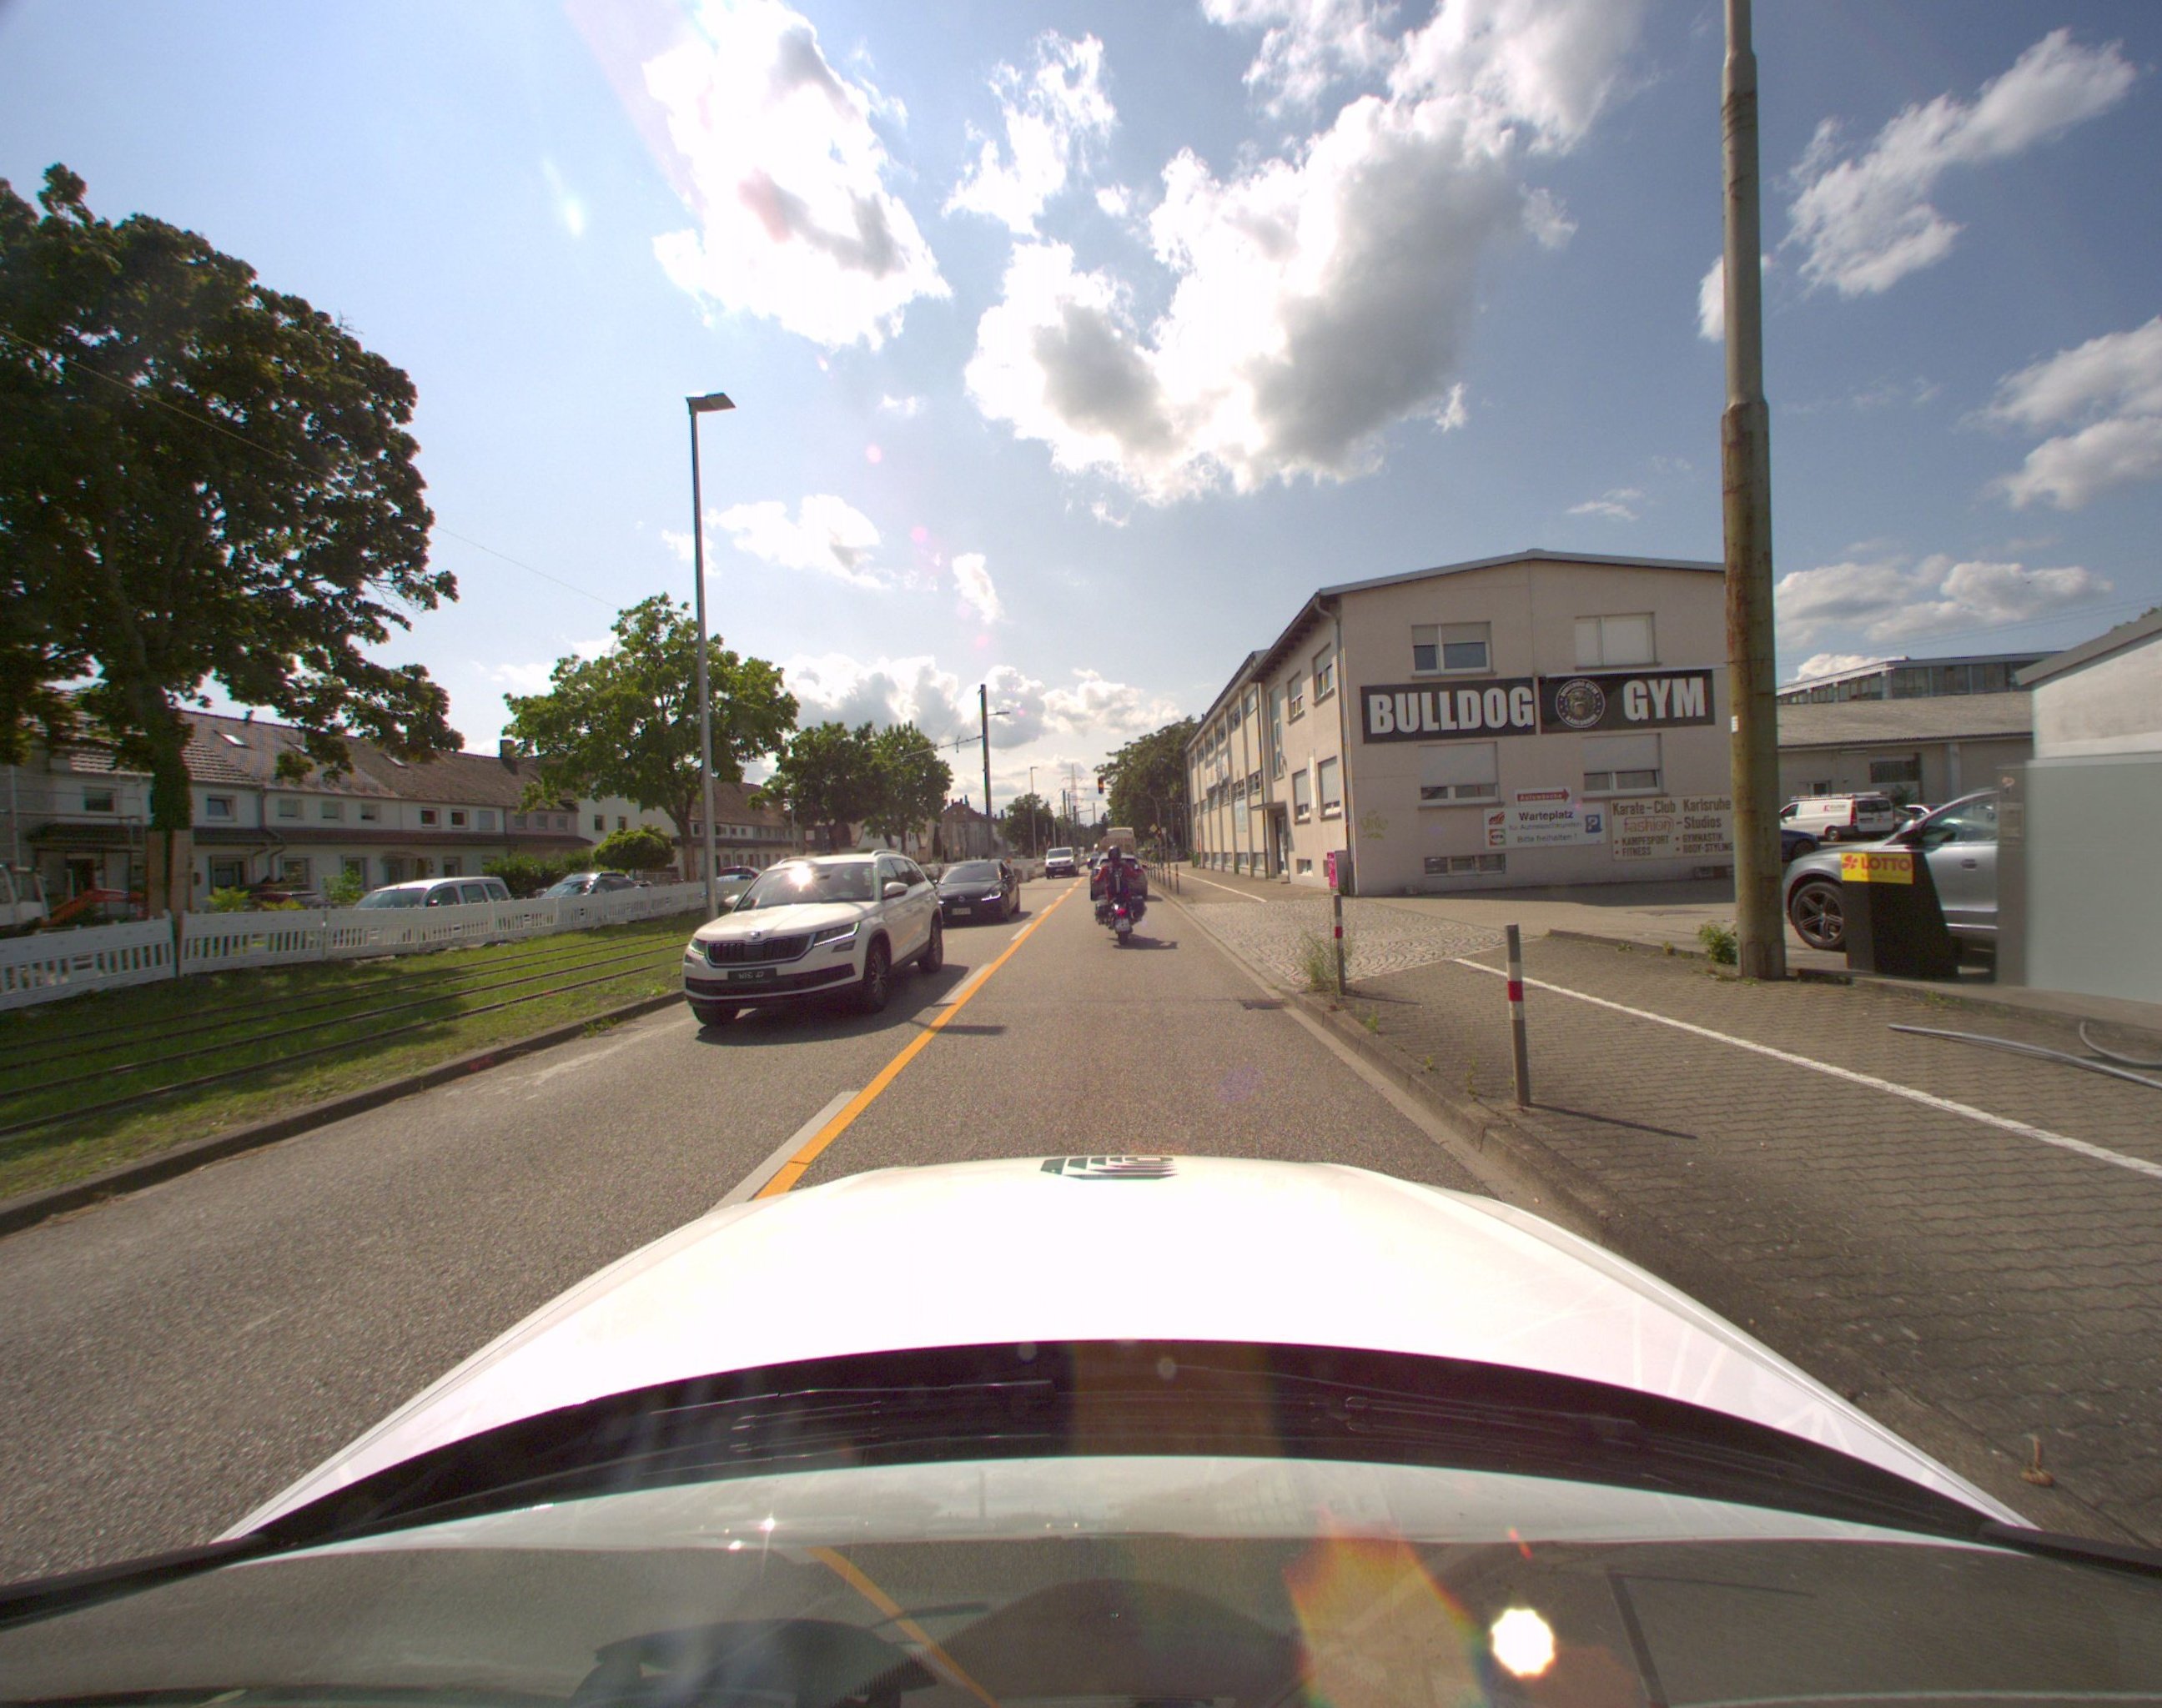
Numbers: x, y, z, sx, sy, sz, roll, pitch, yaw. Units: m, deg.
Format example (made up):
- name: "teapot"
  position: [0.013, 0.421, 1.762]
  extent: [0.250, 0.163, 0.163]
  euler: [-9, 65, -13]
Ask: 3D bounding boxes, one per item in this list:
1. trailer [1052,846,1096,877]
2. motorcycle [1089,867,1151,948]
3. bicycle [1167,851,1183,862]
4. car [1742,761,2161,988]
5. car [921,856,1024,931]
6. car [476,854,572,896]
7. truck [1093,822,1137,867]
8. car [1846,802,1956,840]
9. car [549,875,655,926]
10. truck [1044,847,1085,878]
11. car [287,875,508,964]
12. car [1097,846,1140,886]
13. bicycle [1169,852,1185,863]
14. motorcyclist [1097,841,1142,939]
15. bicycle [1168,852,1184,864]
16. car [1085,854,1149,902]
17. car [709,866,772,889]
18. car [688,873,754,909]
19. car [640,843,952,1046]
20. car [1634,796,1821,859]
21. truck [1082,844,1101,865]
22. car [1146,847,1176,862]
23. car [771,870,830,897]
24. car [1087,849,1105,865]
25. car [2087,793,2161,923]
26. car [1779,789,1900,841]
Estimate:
- name: "trailer"
  position: [-0.413, 0.498, 56.276]
  extent: [2.050, 1.835, 5.499]
  euler: [-5, -1, 9]
- name: "motorcycle"
  position: [0.661, 0.860, 13.944]
  extent: [0.939, 1.200, 2.474]
  euler: [-1, 0, 2]
- name: "bicycle"
  position: [10.108, 0.289, 87.717]
  extent: [1.698, 1.172, 0.439]
  euler: [-1, -1, 7]
- name: "car"
  position: [8.698, 0.097, 7.188]
  extent: [1.939, 1.625, 4.616]
  euler: [-3, 0, 0]
- name: "car"
  position: [-2.461, 0.858, 19.328]
  extent: [1.686, 1.412, 3.860]
  euler: [-6, -1, 1]
- name: "car"
  position: [-28.129, 1.020, 41.293]
  extent: [1.986, 2.014, 4.001]
  euler: [-1, -1, 1]
- name: "truck"
  position: [2.693, -0.635, 61.632]
  extent: [2.953, 3.173, 7.774]
  euler: [-1, -1, 5]
- name: "car"
  position: [36.069, -1.406, 35.932]
  extent: [1.491, 1.480, 3.416]
  euler: [-1, -1, 2]
- name: "car"
  position: [-15.084, 1.434, 25.802]
  extent: [1.345, 1.377, 3.116]
  euler: [-4, -1, 2]
- name: "truck"
  position: [-0.999, 0.508, 52.541]
  extent: [1.810, 1.909, 5.128]
  euler: [-1, 0, 8]
- name: "car"
  position: [-15.437, 1.409, 18.707]
  extent: [1.616, 1.651, 3.901]
  euler: [-4, -1, 2]
- name: "car"
  position: [1.904, 0.529, 40.405]
  extent: [1.893, 1.712, 4.724]
  euler: [-3, 1, 4]
- name: "bicycle"
  position: [10.253, 0.366, 87.164]
  extent: [1.698, 1.172, 0.439]
  euler: [-1, -1, 7]
- name: "motorcyclist"
  position: [0.647, 0.598, 13.766]
  extent: [0.695, 1.604, 0.692]
  euler: [-1, -1, 2]
- name: "bicycle"
  position: [10.140, 0.423, 86.704]
  extent: [1.698, 1.172, 0.439]
  euler: [-1, -1, 7]
- name: "car"
  position: [1.100, 0.707, 26.356]
  extent: [1.727, 1.403, 4.083]
  euler: [-1, 0, -2]
- name: "car"
  position: [-25.935, 1.770, 62.159]
  extent: [3.972, 1.509, 1.726]
  euler: [-3, 0, 0]
- name: "car"
  position: [-15.225, 1.548, 34.632]
  extent: [1.336, 1.325, 3.170]
  euler: [-3, 0, 0]
- name: "car"
  position: [-2.877, 0.817, 9.433]
  extent: [1.818, 1.666, 4.464]
  euler: [-4, -1, 2]
- name: "car"
  position: [19.031, -0.737, 24.110]
  extent: [3.976, 1.716, 1.999]
  euler: [-1, -1, -2]
- name: "truck"
  position: [1.389, 0.009, 108.241]
  extent: [2.084, 2.476, 5.200]
  euler: [-4, 1, 3]
- name: "car"
  position: [10.503, 0.107, 106.809]
  extent: [4.022, 1.926, 1.781]
  euler: [-1, -1, -43]
- name: "car"
  position: [-14.166, 1.465, 41.325]
  extent: [1.497, 1.176, 3.750]
  euler: [-3, 0, 2]
- name: "car"
  position: [1.515, 0.245, 80.836]
  extent: [1.638, 1.498, 4.271]
  euler: [-2, 0, 2]
- name: "car"
  position: [13.059, -0.026, 7.634]
  extent: [1.687, 1.471, 4.422]
  euler: [-4, -1, -1]
- name: "car"
  position: [33.153, -1.669, 35.740]
  extent: [1.780, 2.032, 3.846]
  euler: [-1, -1, 2]
